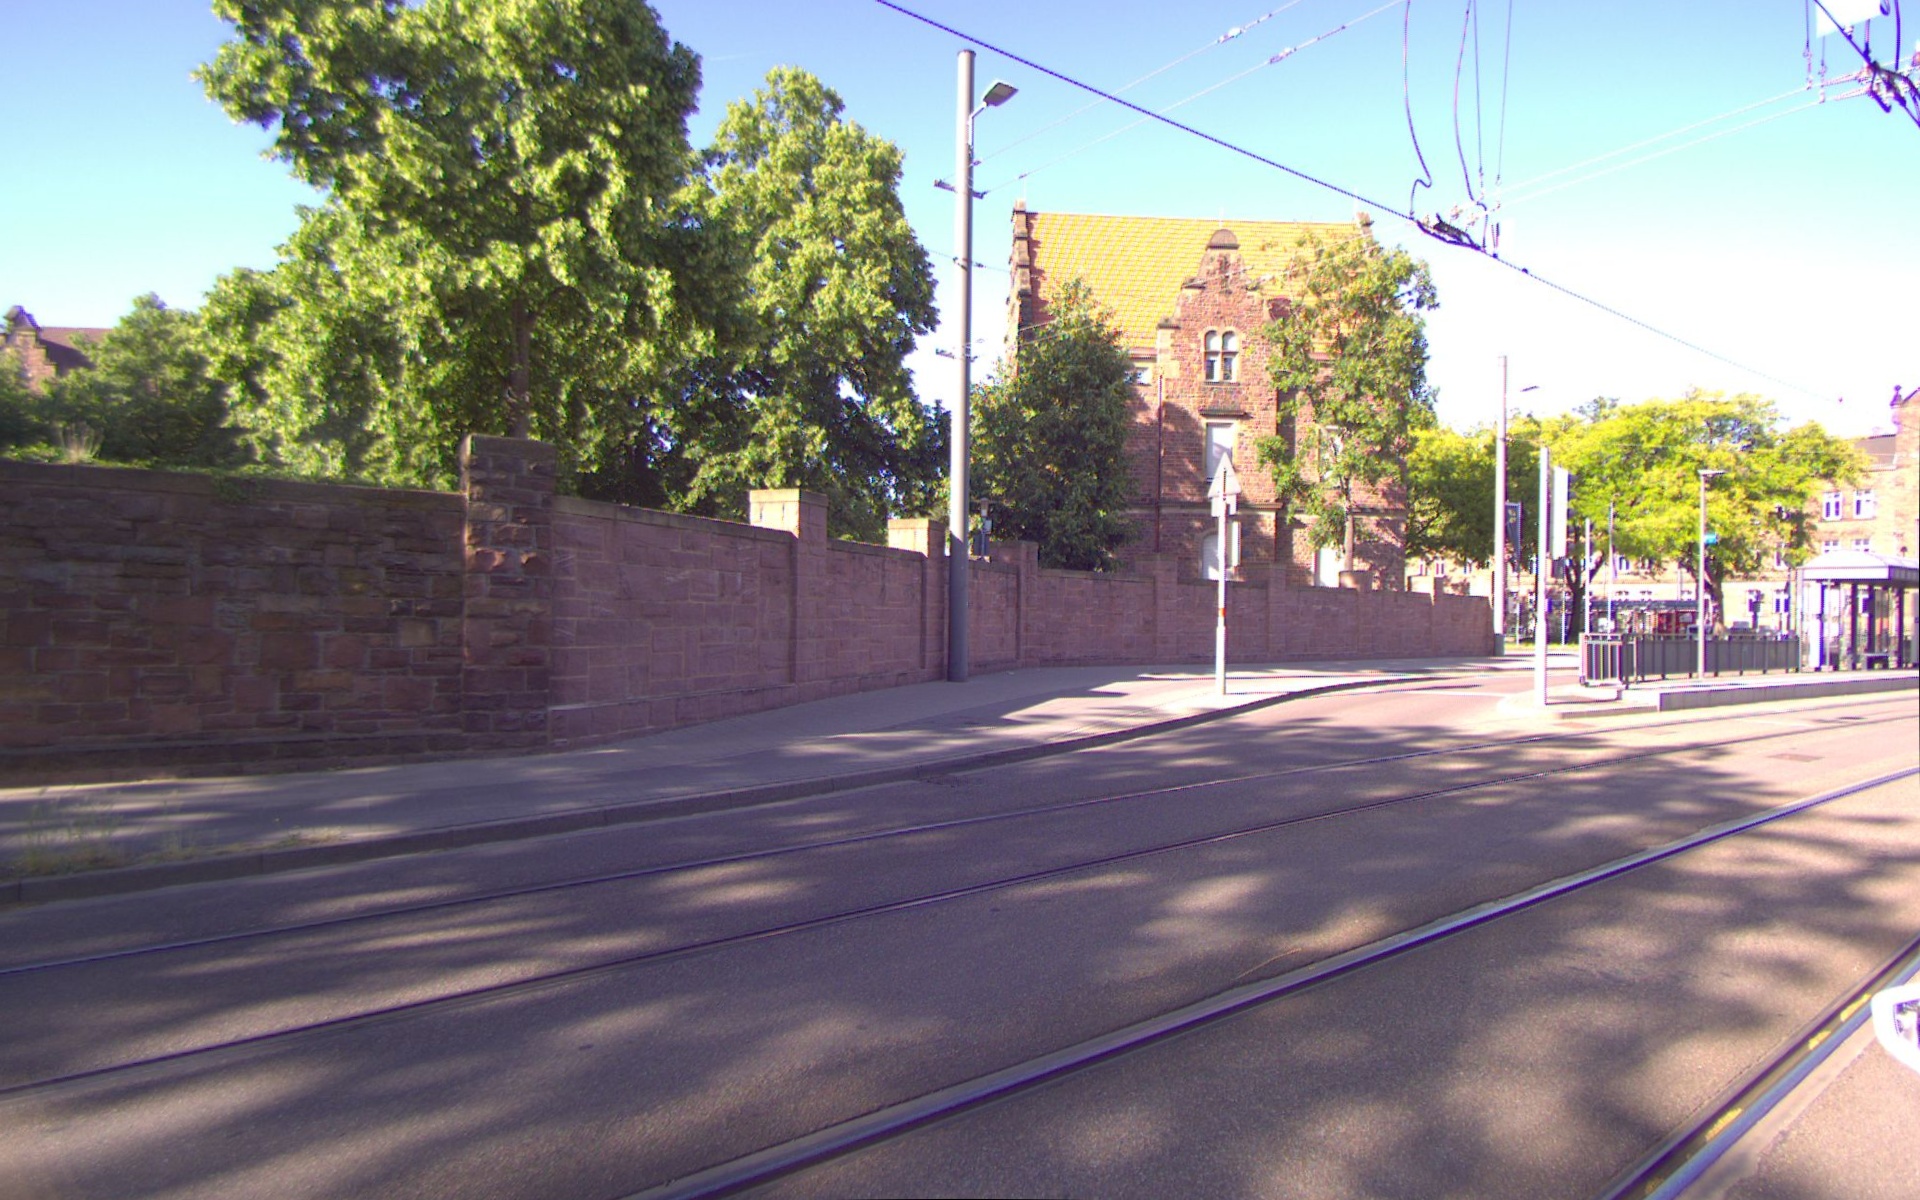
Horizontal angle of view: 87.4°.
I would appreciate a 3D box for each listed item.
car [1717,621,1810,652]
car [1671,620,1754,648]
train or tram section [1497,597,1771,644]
[{"bbox_3d":[47.760,2.156,59.796,1.798,1.651,3.964,2,0,-32],"label":"car"},{"bbox_3d":[49.186,2.238,65.680,1.798,1.651,3.964,2,0,-32],"label":"car"},{"bbox_3d":[50.036,1.455,75.884,3.312,3.196,17.280,2,-1,-33],"label":"train or tram section"}]
